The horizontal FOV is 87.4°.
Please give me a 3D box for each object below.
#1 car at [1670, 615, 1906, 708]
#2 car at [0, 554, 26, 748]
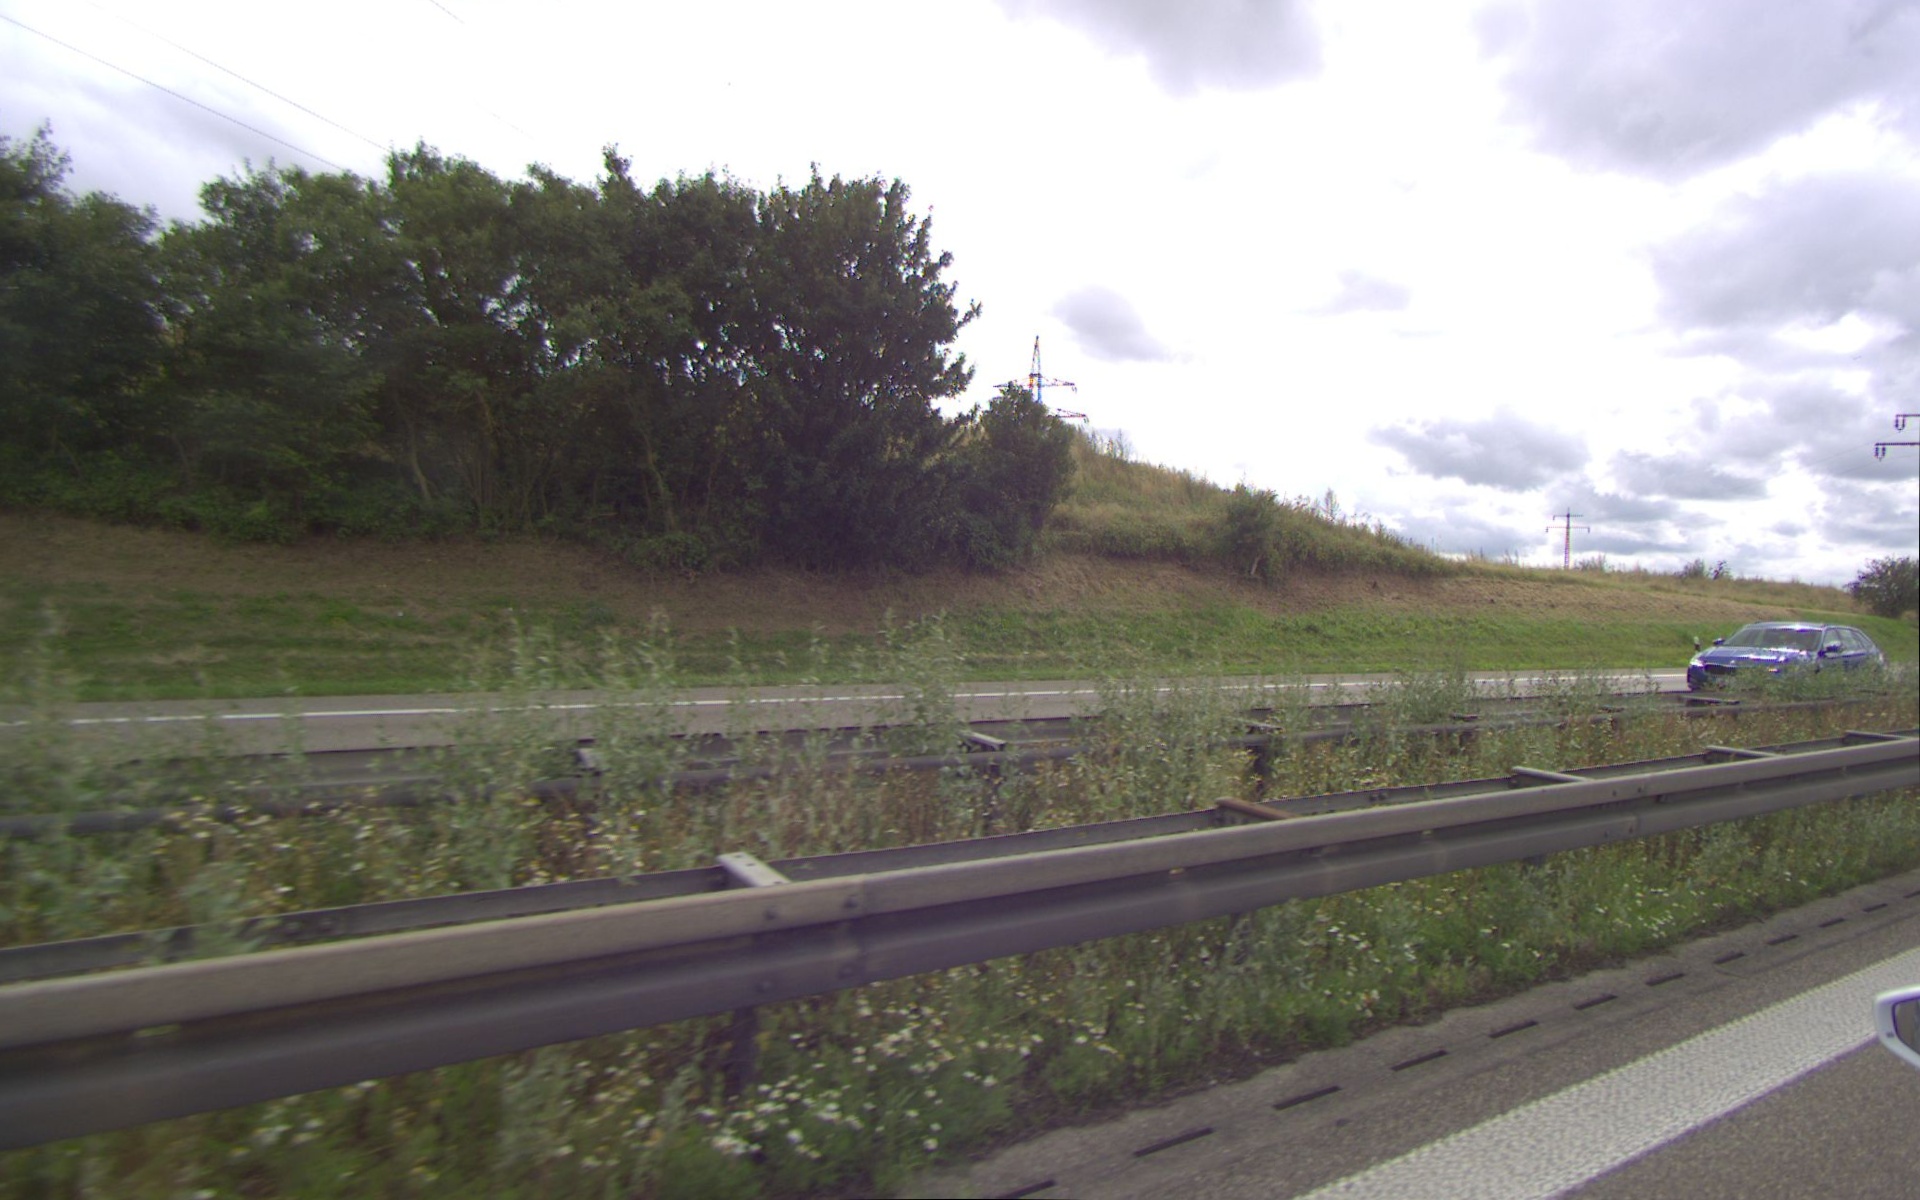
[{"bbox_3d":[15.284,1.093,18.503,4.392,1.476,1.984,2,0,-31],"label":"car"},{"bbox_3d":[-10.071,0.347,6.512,5.561,1.596,1.917,2,0,-33],"label":"car"}]
